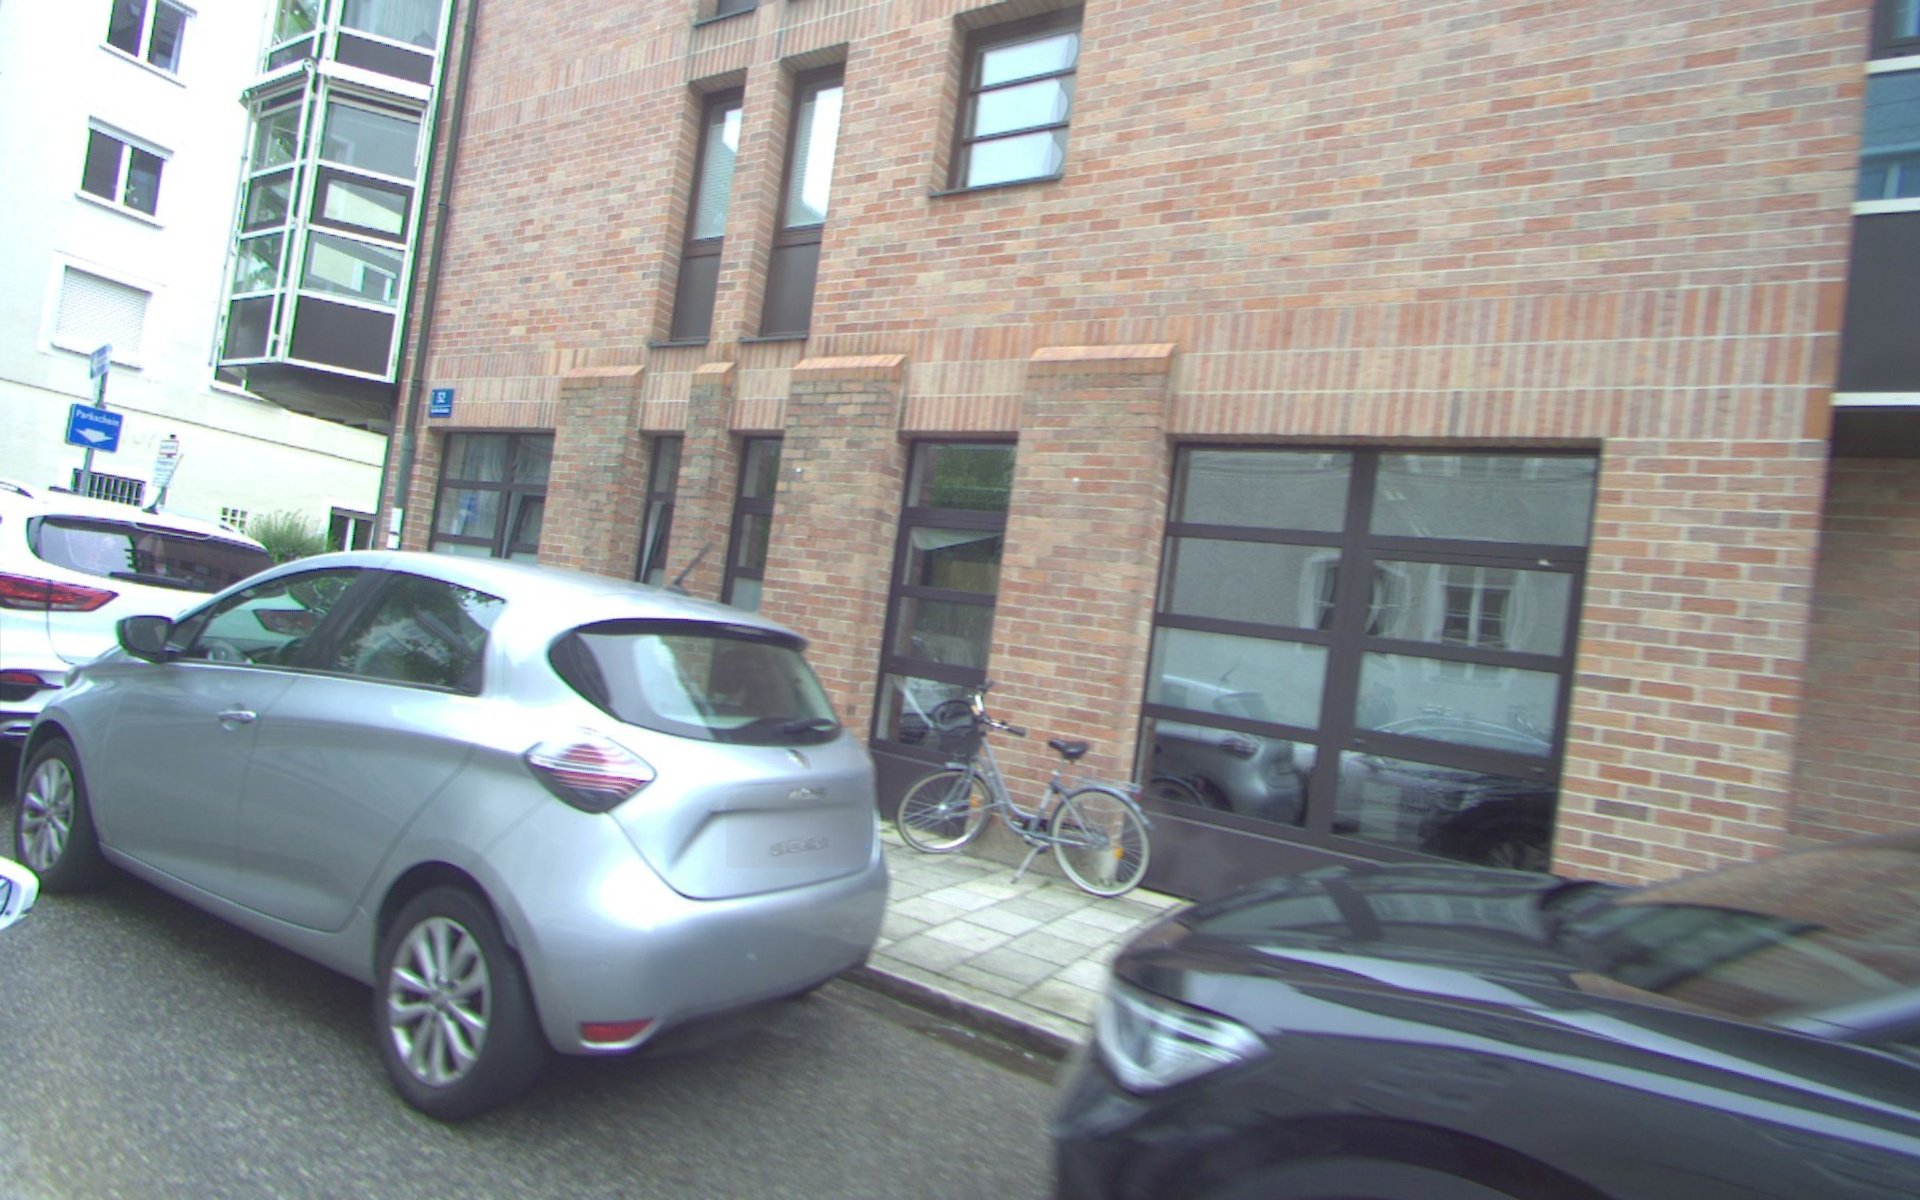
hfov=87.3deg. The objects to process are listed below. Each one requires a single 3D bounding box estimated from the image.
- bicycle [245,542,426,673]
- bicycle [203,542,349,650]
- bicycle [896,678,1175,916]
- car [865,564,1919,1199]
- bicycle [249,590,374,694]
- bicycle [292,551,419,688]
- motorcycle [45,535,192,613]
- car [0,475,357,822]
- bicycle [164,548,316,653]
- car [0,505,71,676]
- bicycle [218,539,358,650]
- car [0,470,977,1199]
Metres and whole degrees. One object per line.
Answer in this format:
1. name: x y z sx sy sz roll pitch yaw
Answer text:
1. bicycle: -7.183 0.107 11.645 1.628 1.291 0.376 8 -2 -32
2. bicycle: -8.946 -0.044 13.174 1.523 1.172 0.380 8 -2 3
3. bicycle: 0.434 1.119 6.029 1.447 1.091 0.561 7 -2 32
4. car: 2.191 1.045 1.497 4.316 1.572 1.891 7 -3 29
5. bicycle: -6.677 0.420 10.339 1.516 0.884 0.385 6 -1 32
6. bicycle: -6.445 0.188 10.700 1.527 1.291 0.379 6 -1 32
7. motorcycle: -15.595 -0.468 18.682 1.897 1.120 0.622 9 -2 -11
8. car: -6.010 0.109 6.406 4.125 1.649 1.753 7 -2 29
9. bicycle: -9.113 0.008 12.756 1.523 1.091 0.380 8 -2 3
10. car: -10.232 -0.337 9.291 3.932 1.461 1.749 7 -3 30
11. bicycle: -9.203 -0.073 13.793 1.523 1.290 0.380 8 -2 3
12. car: -2.094 0.532 4.092 3.814 1.654 1.726 6 -2 28
